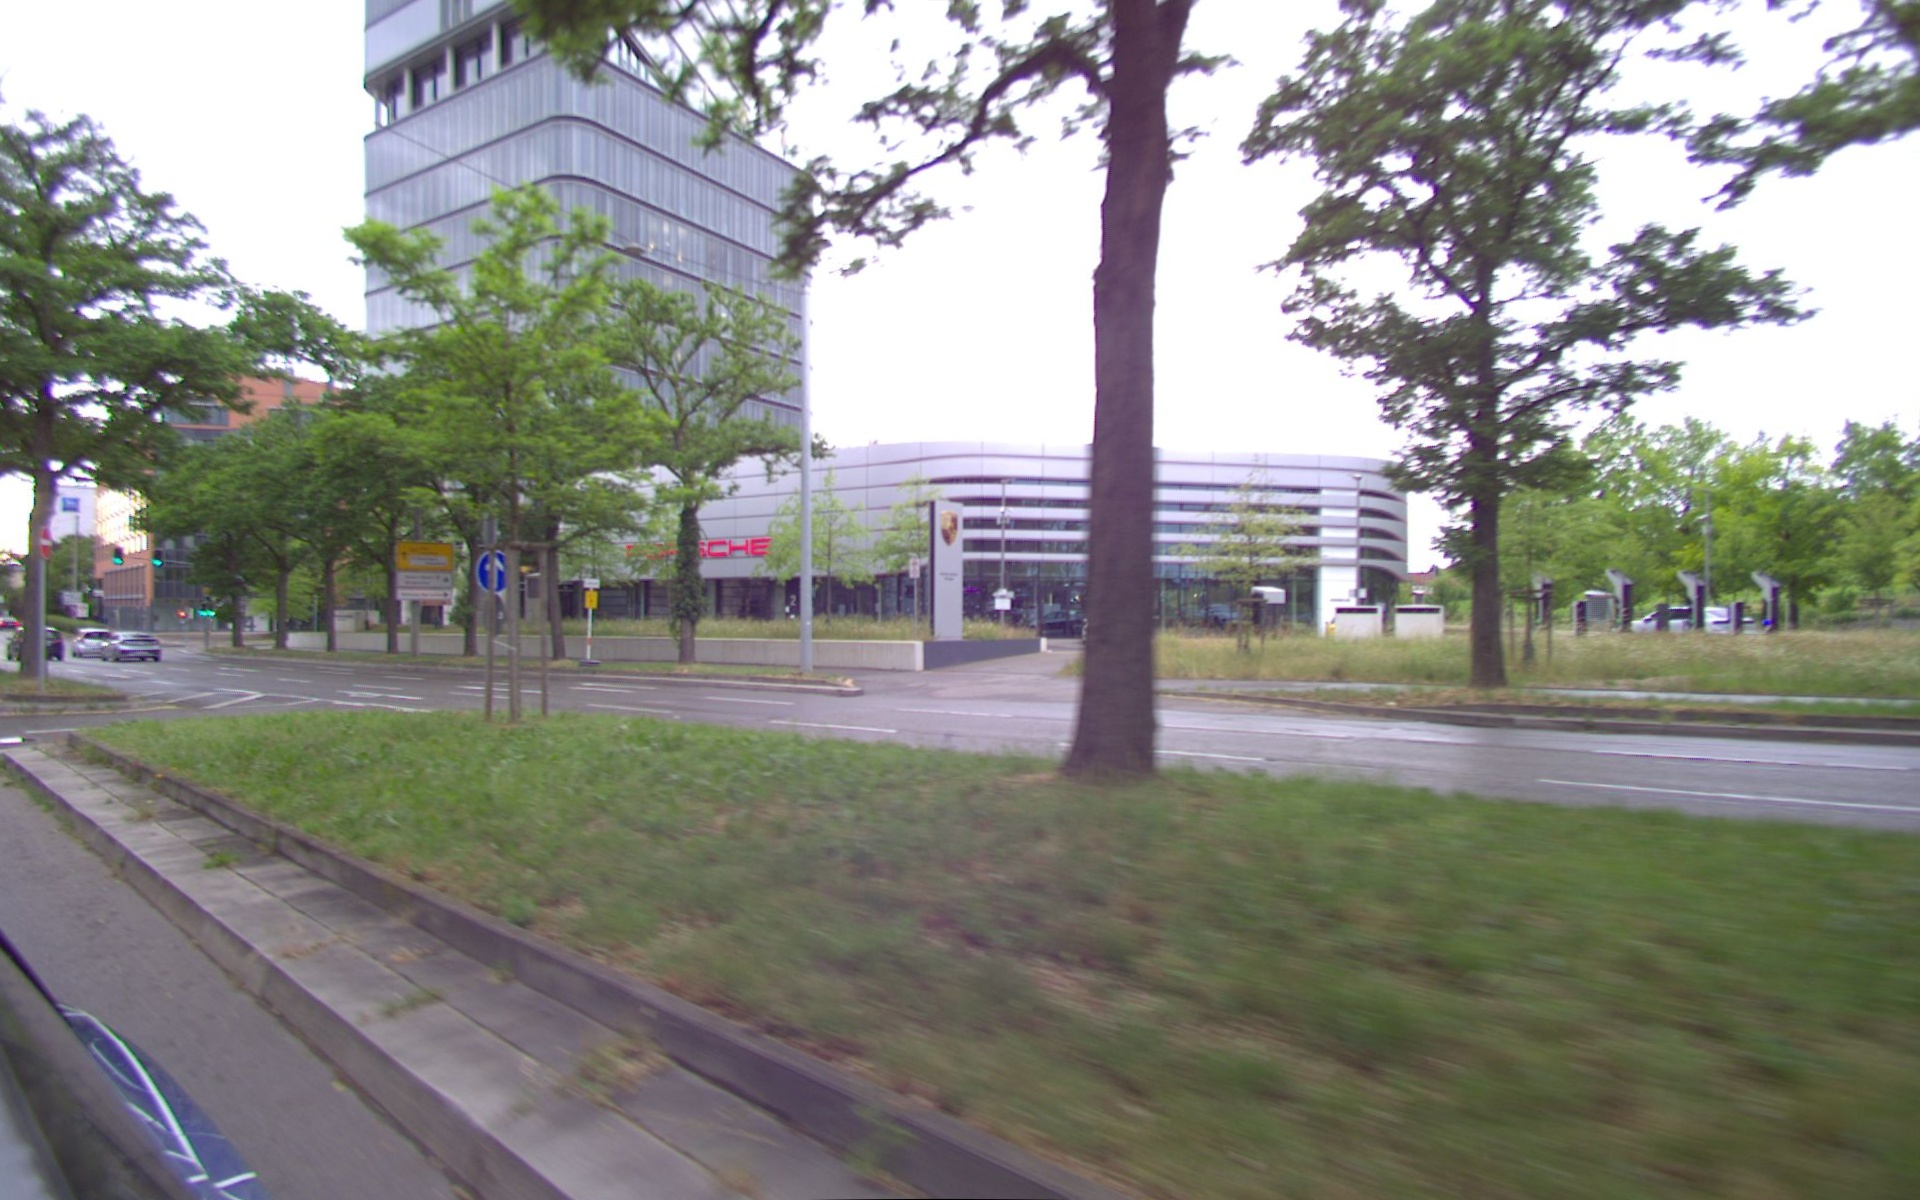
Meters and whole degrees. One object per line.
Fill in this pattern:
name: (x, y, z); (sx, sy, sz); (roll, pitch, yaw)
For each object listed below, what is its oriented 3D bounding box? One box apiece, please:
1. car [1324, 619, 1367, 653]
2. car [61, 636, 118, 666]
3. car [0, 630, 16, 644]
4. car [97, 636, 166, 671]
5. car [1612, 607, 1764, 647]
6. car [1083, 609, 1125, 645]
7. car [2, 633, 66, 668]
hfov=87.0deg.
car: (18.266, 1.689, 48.066); (1.606, 1.333, 3.979); (-1, 1, 17)
car: (-48.888, 2.830, 56.813); (3.997, 1.464, 1.760); (-1, 1, 40)
car: (-108.416, 4.143, 114.561); (3.997, 1.464, 1.760); (-1, 1, 40)
car: (-40.569, 2.575, 49.531); (3.997, 1.464, 1.870); (-1, 1, 40)
car: (25.416, 0.903, 35.456); (1.592, 1.254, 4.013); (-2, 1, -28)
car: (6.527, 1.193, 45.763); (1.759, 1.423, 3.989); (-1, 1, 9)
car: (-46.534, 2.506, 50.830); (4.171, 1.602, 1.822); (-1, -2, 40)
